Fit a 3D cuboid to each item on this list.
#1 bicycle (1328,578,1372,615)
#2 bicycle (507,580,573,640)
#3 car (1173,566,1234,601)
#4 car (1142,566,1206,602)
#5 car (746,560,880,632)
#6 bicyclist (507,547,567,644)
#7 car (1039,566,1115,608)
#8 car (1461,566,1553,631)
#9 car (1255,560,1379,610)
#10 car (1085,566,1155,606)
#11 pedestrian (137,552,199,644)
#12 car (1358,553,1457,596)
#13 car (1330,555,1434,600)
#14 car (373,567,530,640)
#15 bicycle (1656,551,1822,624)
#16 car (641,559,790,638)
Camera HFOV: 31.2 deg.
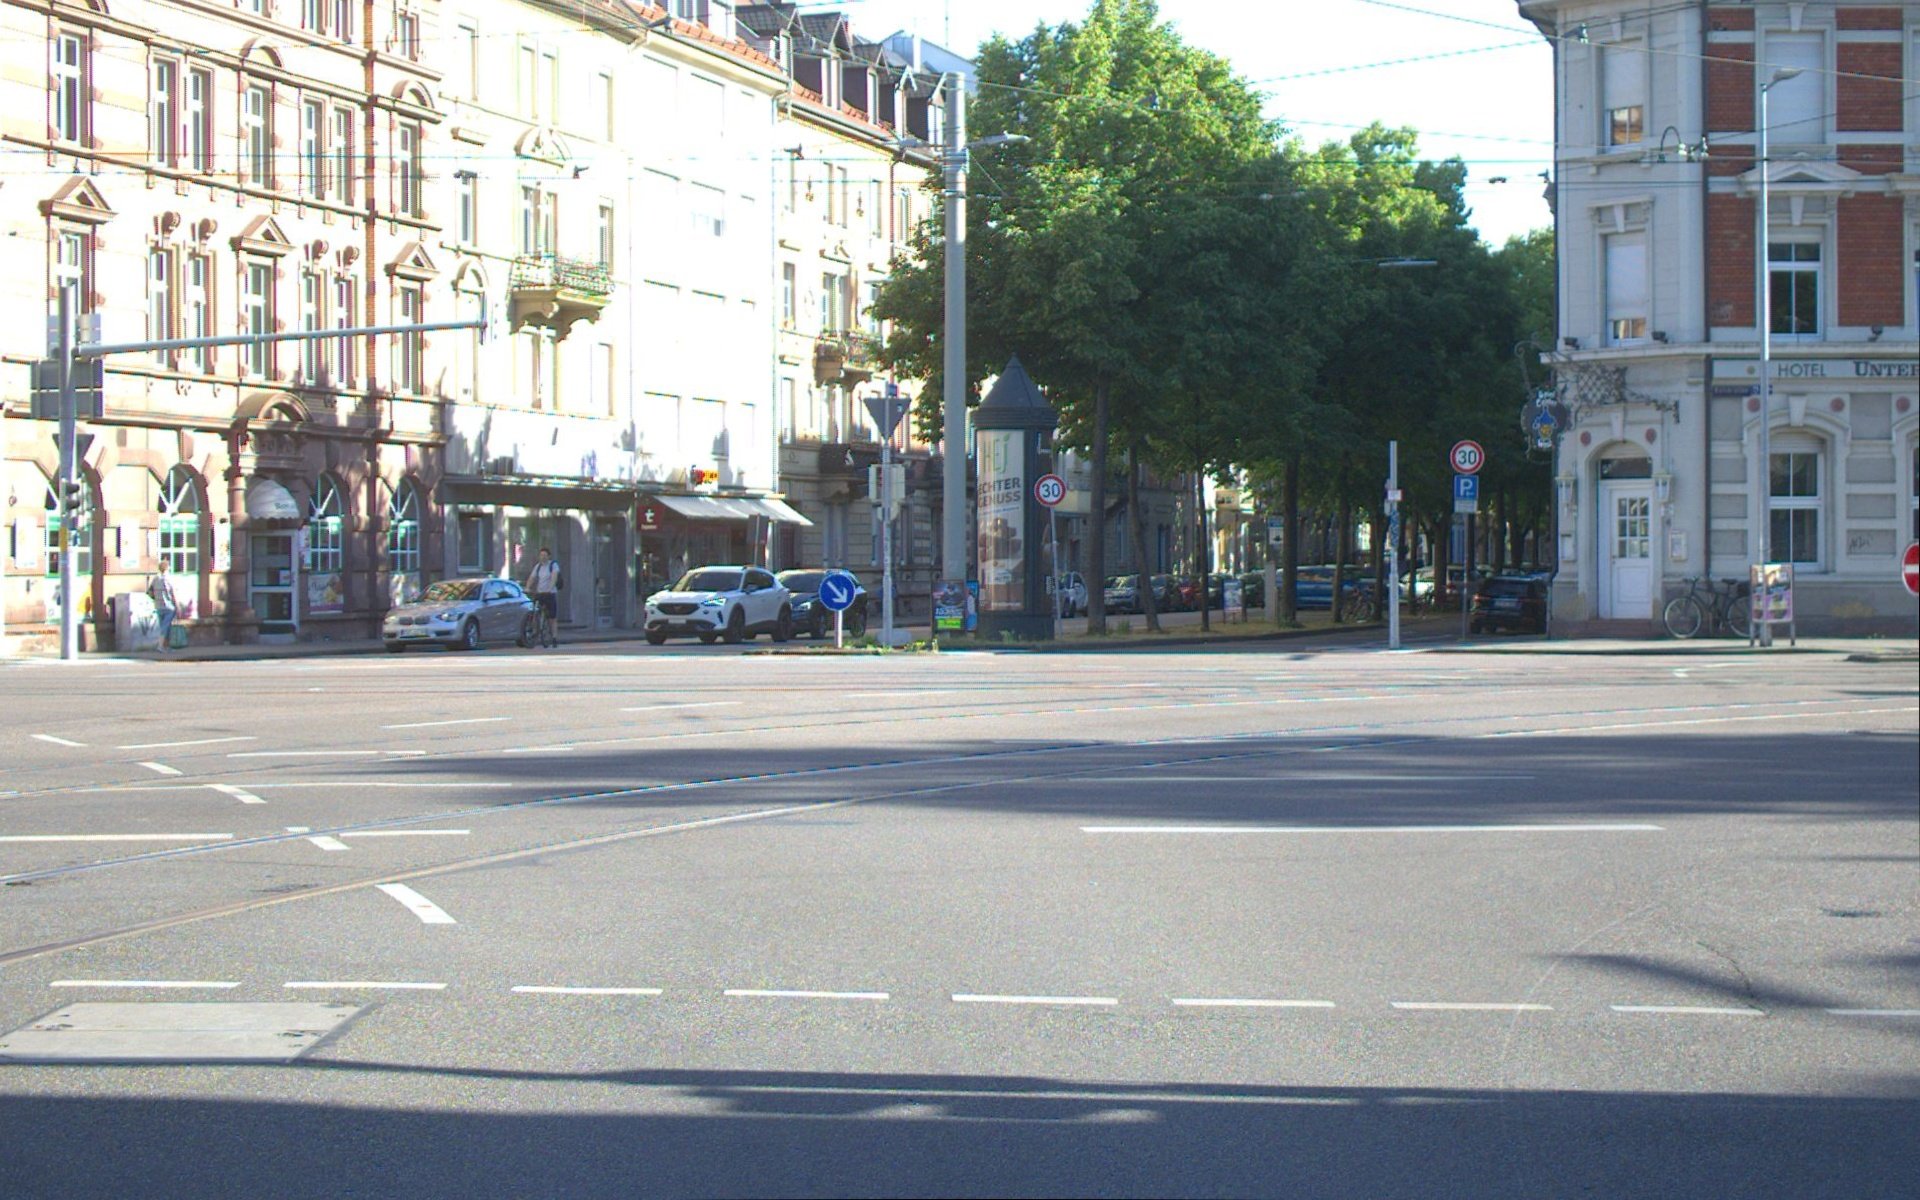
[{"bbox_3d":[11.271,-0.104,99.486,0.636,1.018,1.847,1,1,-14],"label":"bicycle"},{"bbox_3d":[-7.971,0.185,65.268,0.702,1.114,1.634,1,1,13],"label":"bicycle"},{"bbox_3d":[9.624,-0.653,135.780,1.678,1.349,3.588,0,1,17],"label":"car"},{"bbox_3d":[8.152,-0.614,130.750,1.678,1.349,3.588,0,1,17],"label":"car"},{"bbox_3d":[-3.112,-0.102,73.618,1.678,1.478,3.945,0,1,17],"label":"car"},{"bbox_3d":[-8.007,-0.088,65.142,0.779,1.797,1.055,1,0,14],"label":"bicyclist"},{"bbox_3d":[3.944,-0.443,115.482,1.678,1.349,3.588,0,1,17],"label":"car"},{"bbox_3d":[13.158,-0.057,82.576,1.678,1.478,3.945,0,1,17],"label":"car"},{"bbox_3d":[12.002,-0.509,115.680,3.905,1.642,1.681,0,1,17],"label":"car"},{"bbox_3d":[5.715,-0.512,122.444,1.678,1.349,3.588,0,1,17],"label":"car"},{"bbox_3d":[-14.406,-0.042,62.527,0.776,1.664,0.830,1,0,15],"label":"pedestrian"},{"bbox_3d":[17.399,-1.001,133.509,3.582,1.642,1.681,0,1,17],"label":"car"},{"bbox_3d":[15.724,-0.846,128.036,3.582,1.642,1.681,0,1,17],"label":"car"},{"bbox_3d":[-9.864,0.056,66.913,1.678,1.349,3.588,0,1,17],"label":"car"},{"bbox_3d":[12.977,-0.208,57.278,2.554,1.170,0.819,1,0,-3],"label":"bicycle"},{"bbox_3d":[-4.754,-0.052,67.317,1.678,1.478,3.768,0,1,17],"label":"car"}]
